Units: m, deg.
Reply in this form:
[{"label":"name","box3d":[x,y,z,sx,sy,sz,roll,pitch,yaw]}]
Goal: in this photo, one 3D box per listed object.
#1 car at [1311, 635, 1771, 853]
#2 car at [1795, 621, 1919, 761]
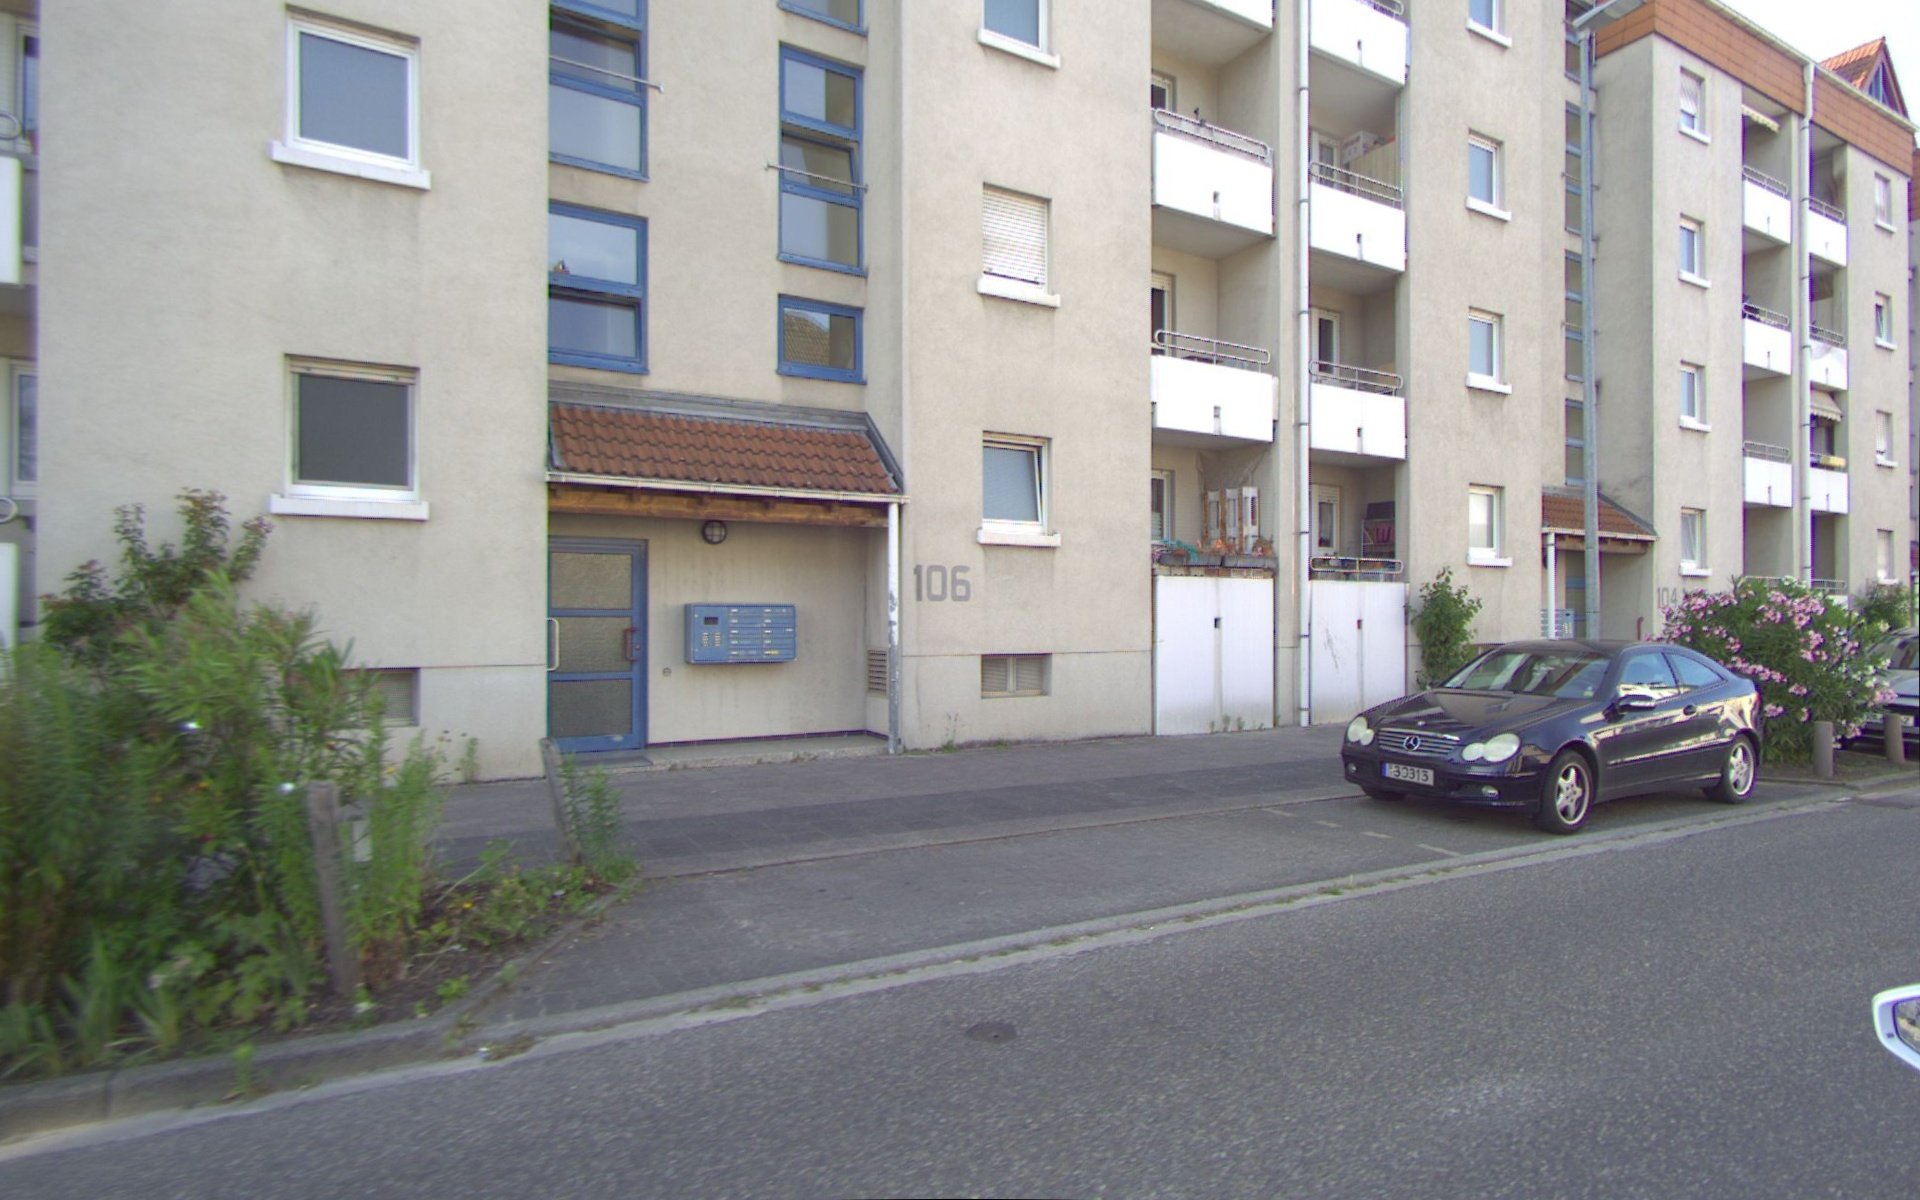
[{"label":"car","box3d":[5.069,1.050,8.648,4.036,1.424,1.678,1,0,-31]},{"label":"car","box3d":[12.543,1.077,12.705,3.915,1.576,1.720,1,0,-28]}]
